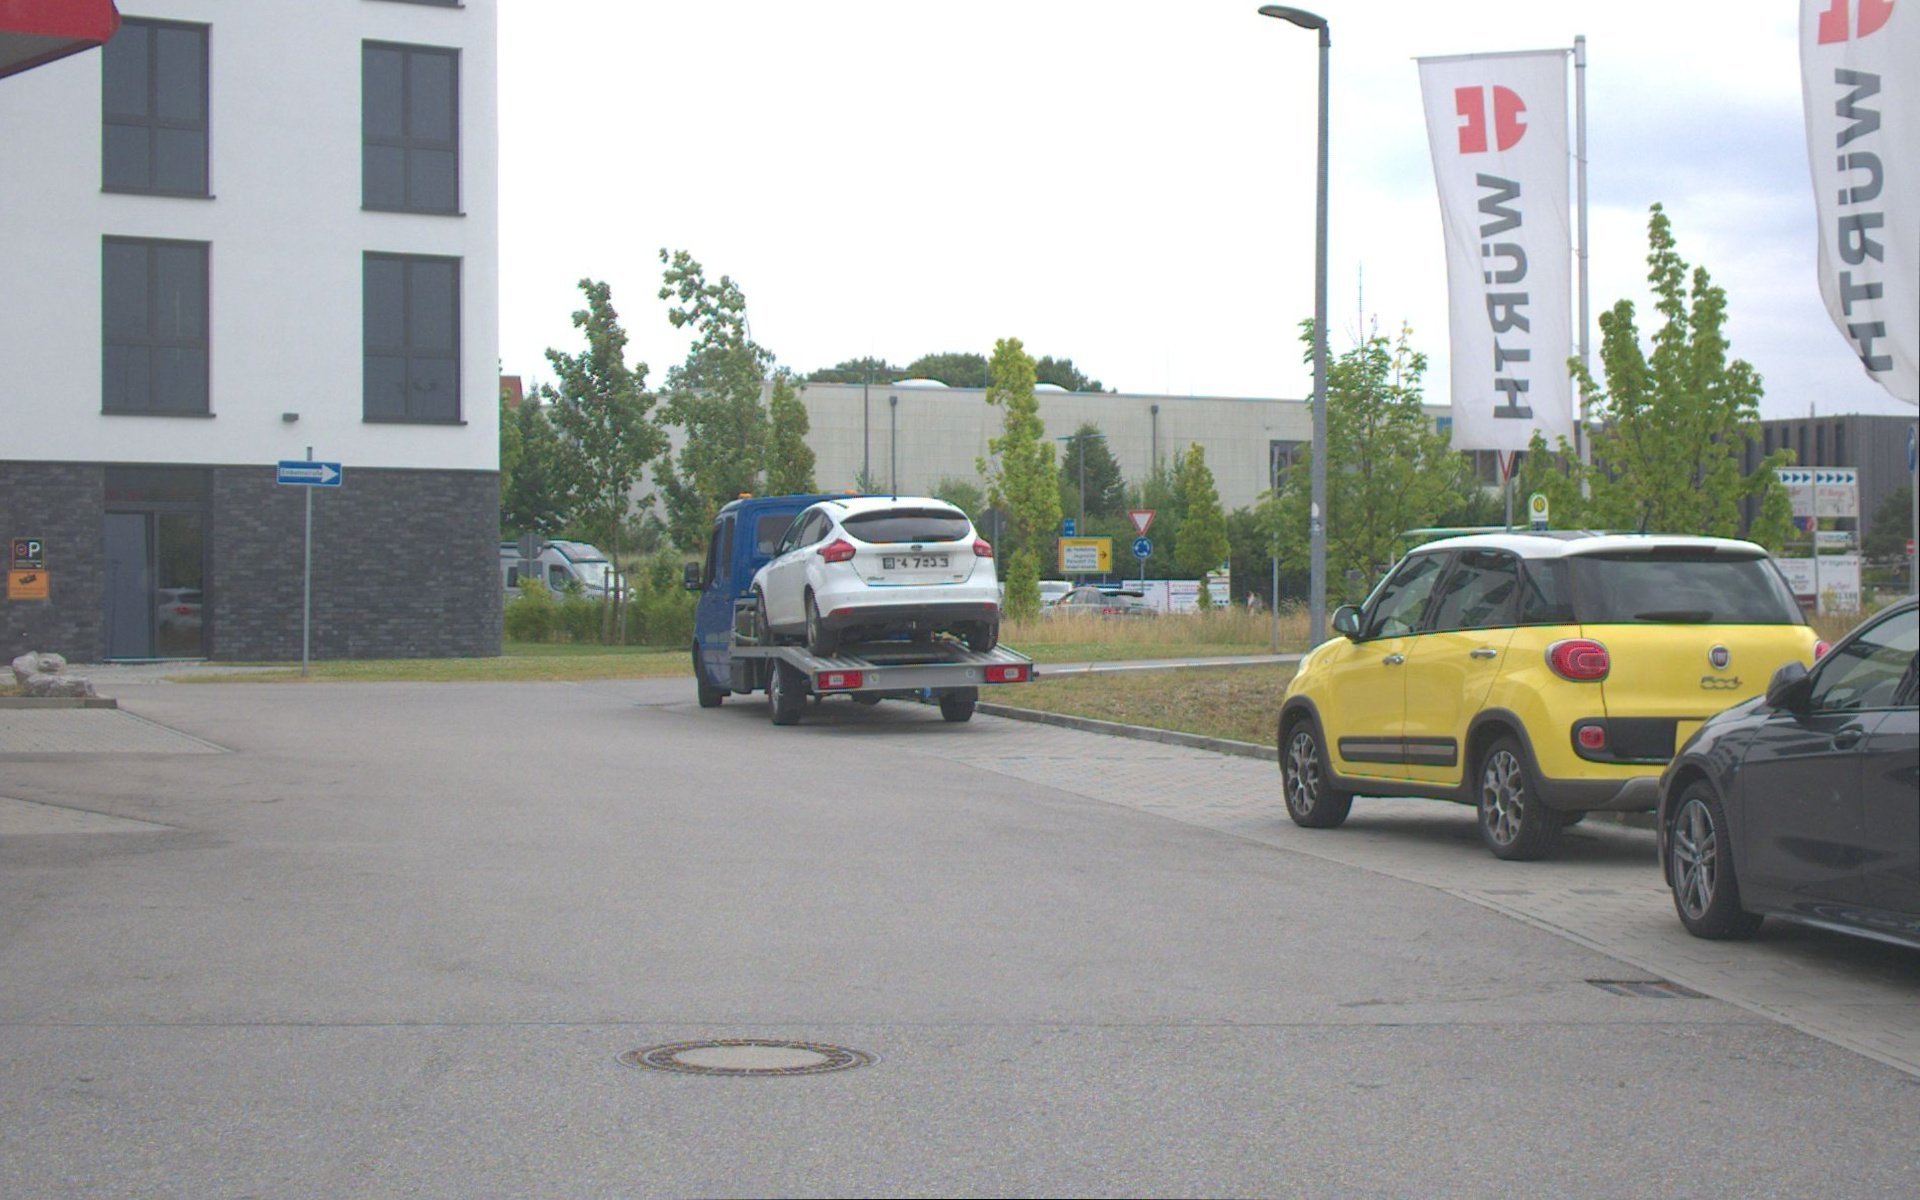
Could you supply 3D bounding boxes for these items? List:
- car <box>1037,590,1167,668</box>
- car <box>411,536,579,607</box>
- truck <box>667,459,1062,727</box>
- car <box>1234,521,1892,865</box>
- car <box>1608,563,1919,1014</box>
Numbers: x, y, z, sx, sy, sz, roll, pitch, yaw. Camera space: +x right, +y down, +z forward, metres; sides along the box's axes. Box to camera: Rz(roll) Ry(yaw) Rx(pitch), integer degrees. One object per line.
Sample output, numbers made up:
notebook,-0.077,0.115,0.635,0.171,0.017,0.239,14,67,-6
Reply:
car,3.585,0.722,87.526,1.993,1.853,4.001,-2,1,-19
car,-12.332,-0.771,91.235,3.988,1.766,1.999,-1,1,8
truck,-1.174,-0.114,34.919,2.331,2.398,7.899,0,1,-14
car,3.111,0.454,18.634,1.856,1.644,4.001,1,0,-17
car,3.873,0.619,12.279,1.751,1.464,4.108,1,1,-9
